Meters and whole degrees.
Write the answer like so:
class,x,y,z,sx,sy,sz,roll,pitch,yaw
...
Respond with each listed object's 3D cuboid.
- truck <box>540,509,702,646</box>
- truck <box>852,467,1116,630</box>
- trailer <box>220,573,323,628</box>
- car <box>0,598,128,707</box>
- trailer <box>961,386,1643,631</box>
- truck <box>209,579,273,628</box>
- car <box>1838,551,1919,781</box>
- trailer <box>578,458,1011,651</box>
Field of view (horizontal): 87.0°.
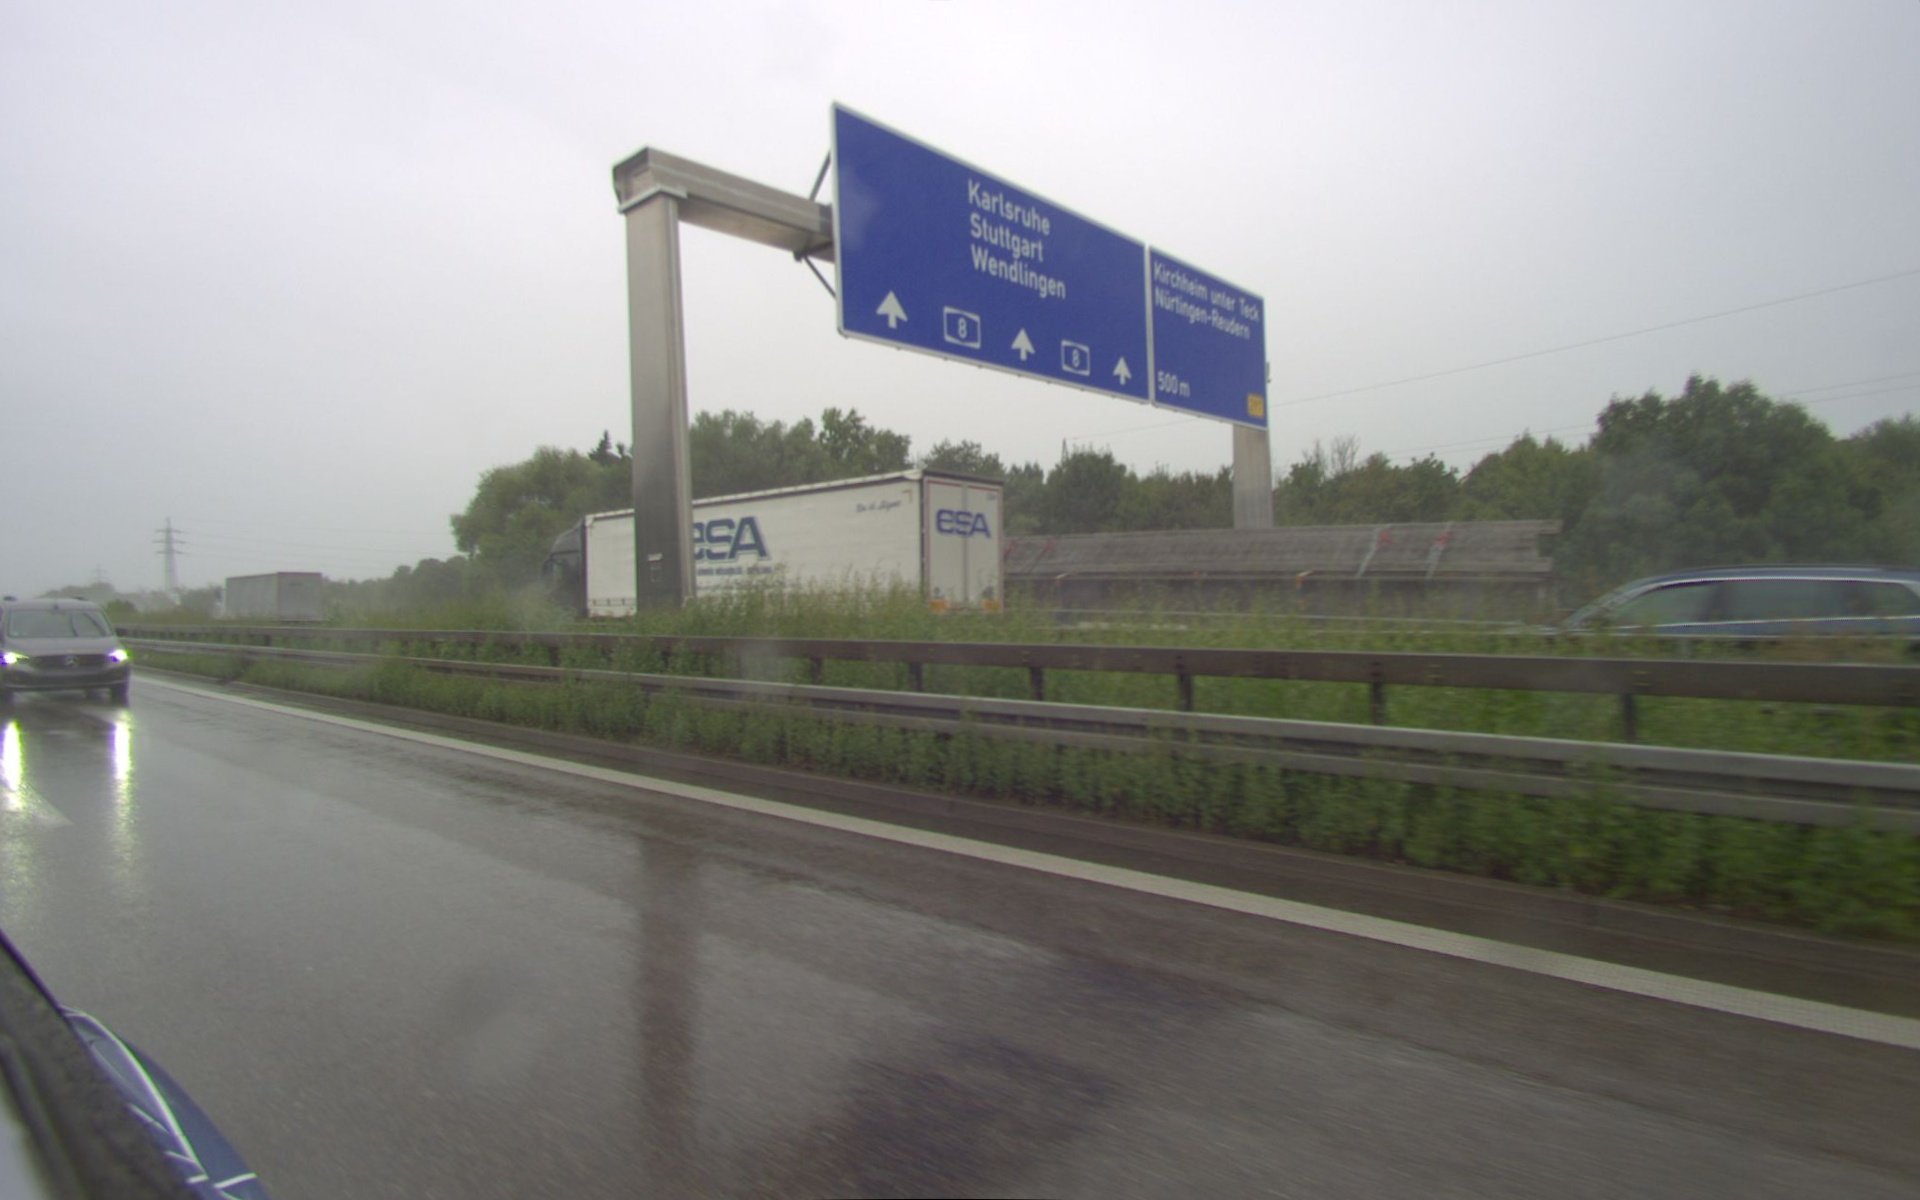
class,x,y,z,sx,sy,sz,roll,pitch,yaw
truck,-10.072,-0.636,29.897,4.736,3.736,2.332,-2,2,42
truck,0.488,-1.205,26.591,6.508,3.747,2.877,-2,3,43
trailer,-48.027,0.120,70.357,13.442,3.433,2.645,-2,1,42
car,-16.854,0.900,18.658,2.018,1.787,4.504,1,-1,-43
trailer,6.050,-1.375,21.393,13.540,3.784,2.894,-2,3,43
truck,-53.480,0.276,75.230,5.525,3.442,2.639,-2,1,42
car,9.432,0.499,7.784,3.998,1.825,1.973,-1,-1,41
trailer,-4.925,-0.800,25.179,13.925,3.749,2.308,-2,2,42
